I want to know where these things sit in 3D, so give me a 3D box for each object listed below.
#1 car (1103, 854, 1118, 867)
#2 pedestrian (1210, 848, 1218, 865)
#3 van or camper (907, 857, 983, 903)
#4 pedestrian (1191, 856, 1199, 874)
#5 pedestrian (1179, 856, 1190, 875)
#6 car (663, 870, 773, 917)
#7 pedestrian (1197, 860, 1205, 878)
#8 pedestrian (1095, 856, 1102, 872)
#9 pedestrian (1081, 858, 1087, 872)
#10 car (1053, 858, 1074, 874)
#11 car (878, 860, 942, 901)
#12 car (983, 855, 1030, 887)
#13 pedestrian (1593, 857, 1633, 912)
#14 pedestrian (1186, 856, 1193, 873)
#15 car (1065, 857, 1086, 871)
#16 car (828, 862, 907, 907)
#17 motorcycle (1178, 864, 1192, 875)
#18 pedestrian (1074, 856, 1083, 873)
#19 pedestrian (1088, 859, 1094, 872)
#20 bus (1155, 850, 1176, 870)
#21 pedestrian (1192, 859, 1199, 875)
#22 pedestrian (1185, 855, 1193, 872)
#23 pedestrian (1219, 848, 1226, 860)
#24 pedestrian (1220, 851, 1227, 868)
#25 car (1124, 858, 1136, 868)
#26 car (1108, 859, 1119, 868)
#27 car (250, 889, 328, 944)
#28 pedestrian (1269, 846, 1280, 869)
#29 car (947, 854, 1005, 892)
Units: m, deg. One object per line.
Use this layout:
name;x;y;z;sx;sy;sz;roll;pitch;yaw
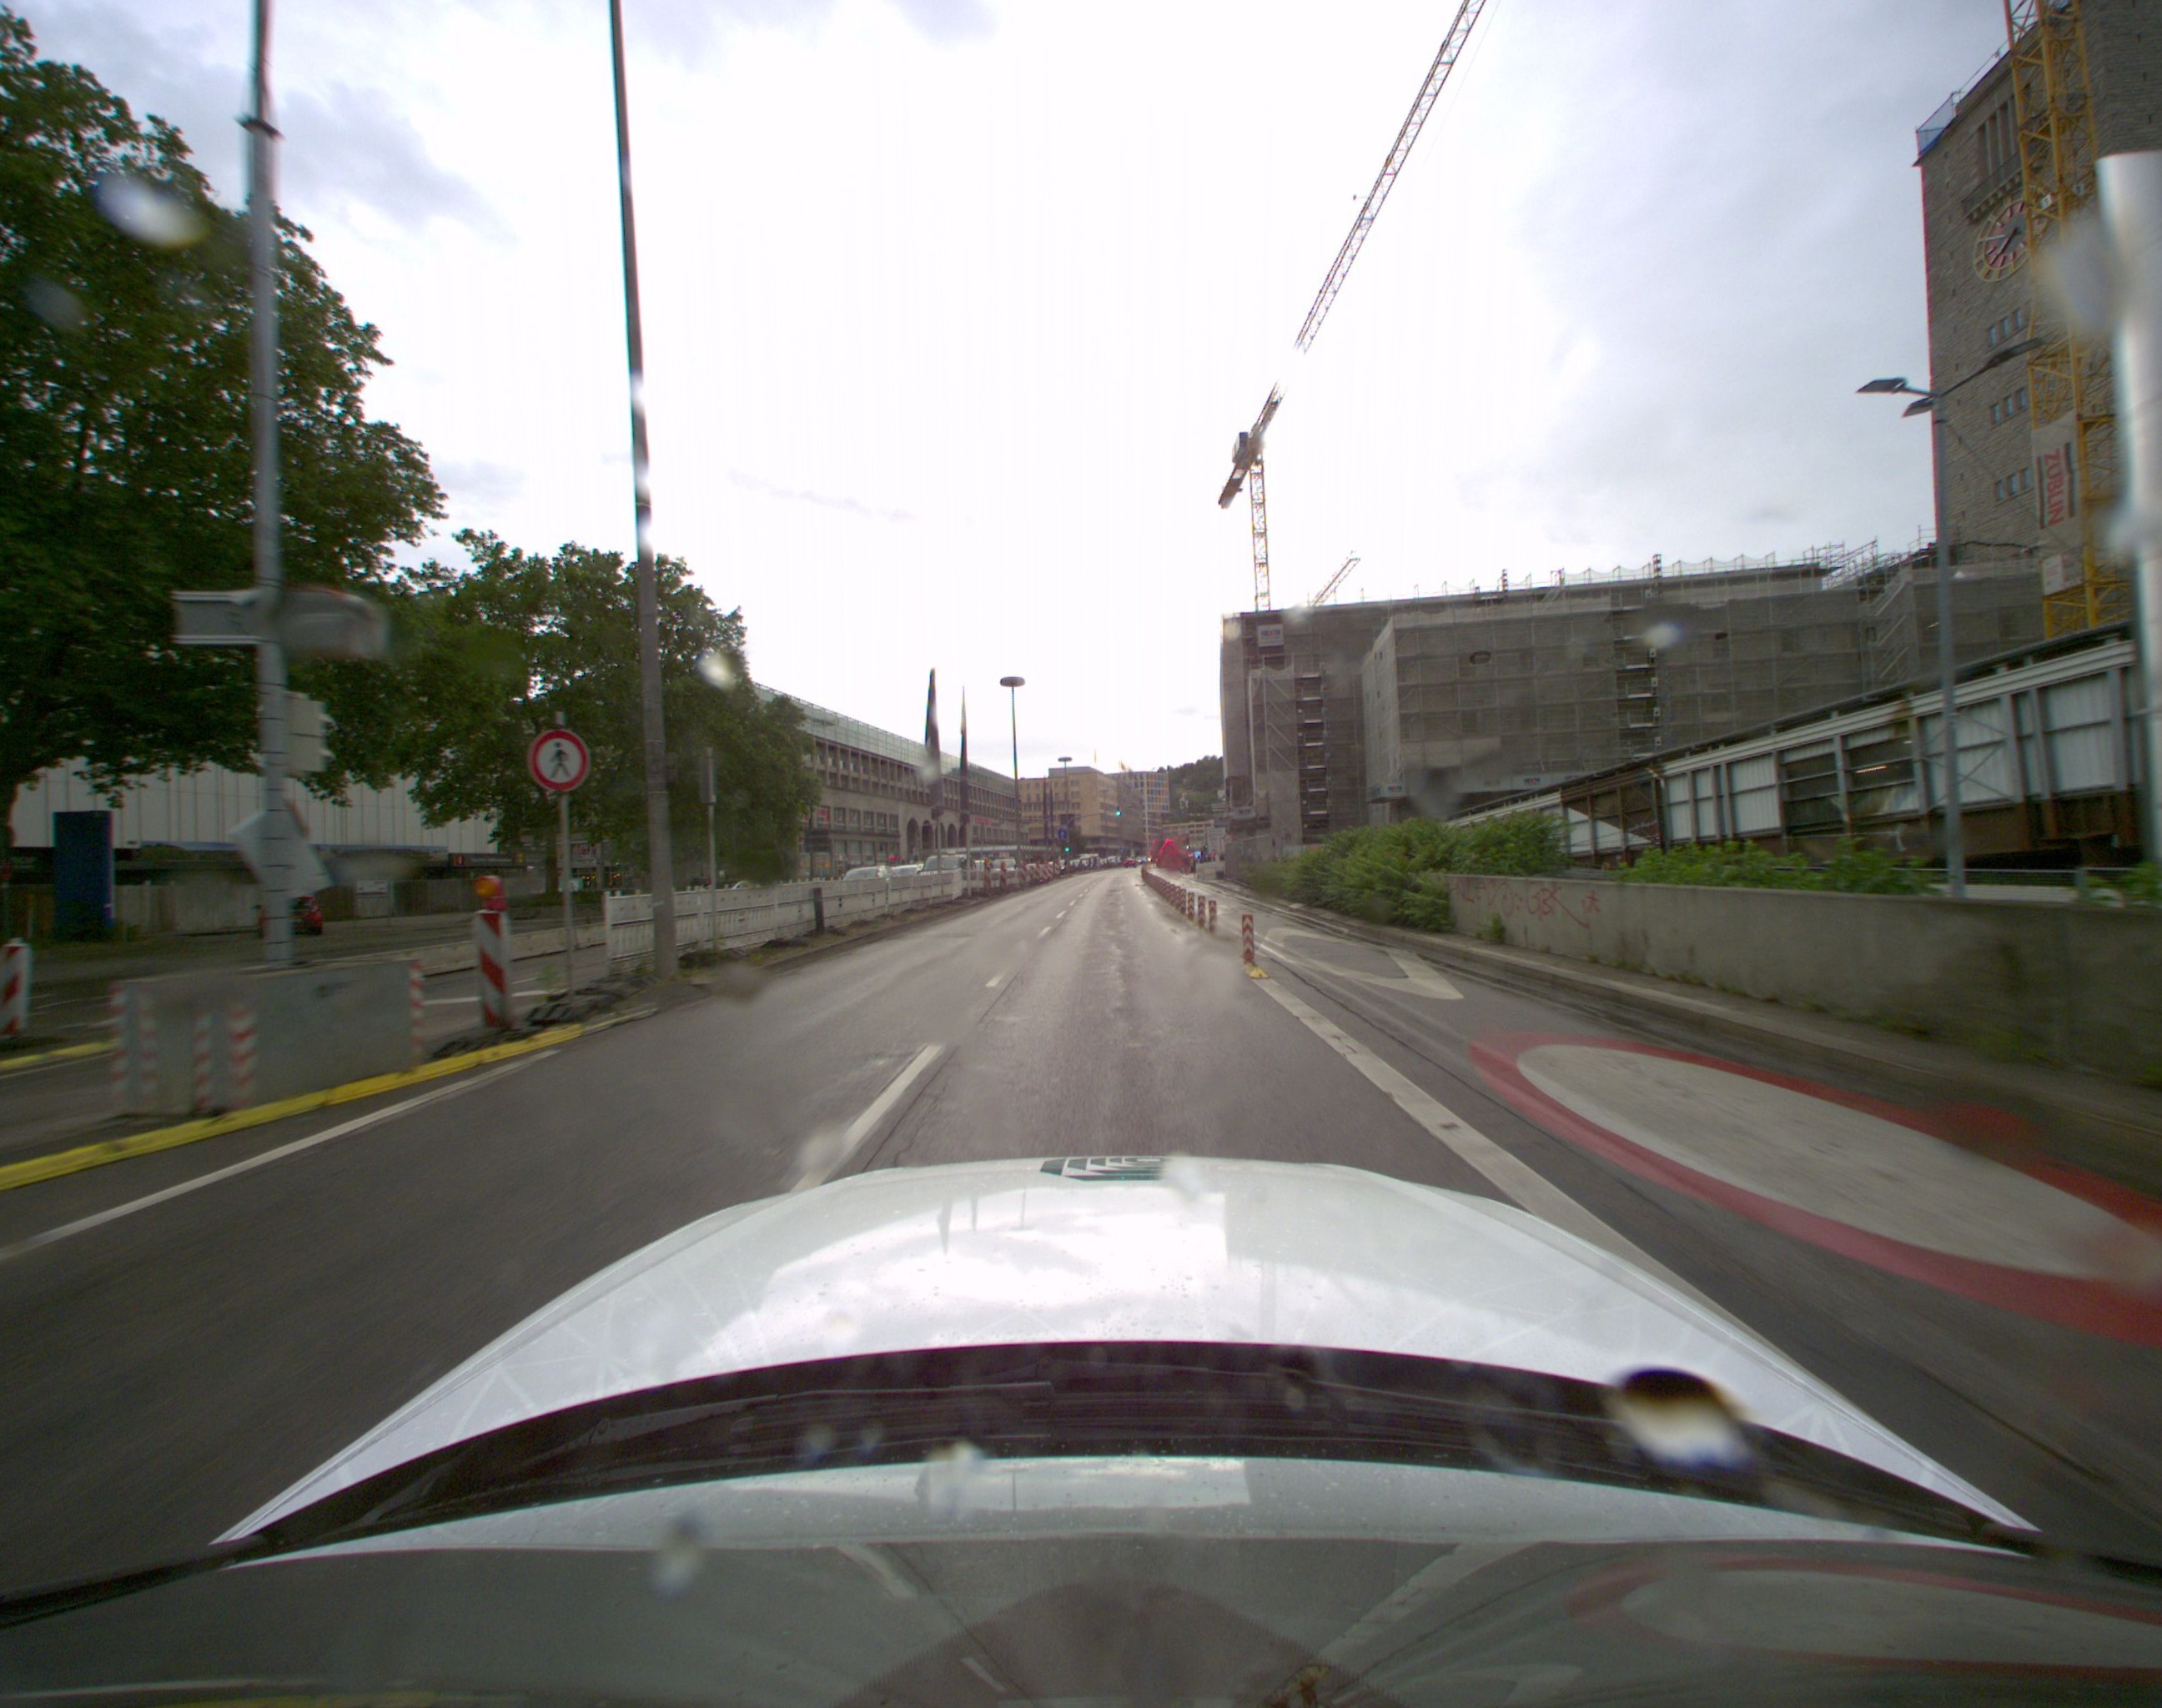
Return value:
car;5.454;1.229;149.203;1.981;2.178;5.559;-3;0;10
pedestrian;14.960;0.249;91.838;0.719;1.847;0.812;-5;-1;8
van or camper;-5.911;1.092;36.172;1.935;1.819;5.401;-1;0;6
pedestrian;11.137;1.059;79.575;0.554;1.752;0.713;-5;-1;9
pedestrian;9.880;1.100;77.715;0.584;1.741;0.813;-2;0;-35
car;-14.980;1.589;33.929;1.983;1.631;4.827;-1;0;6
pedestrian;11.291;1.418;76.661;0.554;1.650;0.616;-5;-1;9
pedestrian;2.359;1.332;109.023;0.719;2.007;0.774;-1;0;8
pedestrian;0.369;1.333;98.481;0.648;1.711;0.594;-1;0;6
car;-2.005;1.400;95.647;1.893;1.699;4.508;-1;0;6
car;-8.825;1.312;42.385;1.905;1.851;4.573;3;1;5
car;-4.791;1.071;53.087;1.983;1.817;4.819;-3;0;6
pedestrian;18.165;1.016;27.839;0.669;1.832;1.015;-2;-1;2
pedestrian;10.867;1.042;81.329;0.554;1.641;0.754;-5;-1;9
car;-0.677;1.266;107.533;1.919;1.690;4.692;-4;-1;8
car;-9.115;1.262;35.157;1.881;1.702;4.308;-1;0;6
motorcycle;9.905;1.470;77.700;0.589;1.021;1.226;-2;0;-34
pedestrian;-0.291;1.184;88.817;0.780;1.775;0.606;-5;-1;-4
pedestrian;1.313;1.579;109.242;0.694;1.755;0.713;-3;0;8
bus;13.582;0.979;129.689;2.739;3.069;9.103;-1;0;9
pedestrian;11.042;1.258;78.642;0.554;1.449;0.713;-5;-1;9
pedestrian;10.965;0.959;82.752;0.557;1.759;0.750;-5;-1;-5
pedestrian;18.452;-0.044;106.190;0.647;1.539;0.667;-5;-1;9
pedestrian;14.101;0.542;80.561;0.546;1.632;0.998;-5;-1;8
car;8.164;1.437;135.495;1.985;1.552;4.004;-3;-1;3
car;6.750;1.926;167.433;1.983;1.552;4.007;-3;-1;6
car;-29.020;2.229;29.835;3.698;1.542;1.863;1;4;45
pedestrian;15.599;0.313;65.705;0.669;1.832;1.015;-2;-1;2
car;-5.657;0.994;44.603;1.983;1.770;4.819;-3;0;6
